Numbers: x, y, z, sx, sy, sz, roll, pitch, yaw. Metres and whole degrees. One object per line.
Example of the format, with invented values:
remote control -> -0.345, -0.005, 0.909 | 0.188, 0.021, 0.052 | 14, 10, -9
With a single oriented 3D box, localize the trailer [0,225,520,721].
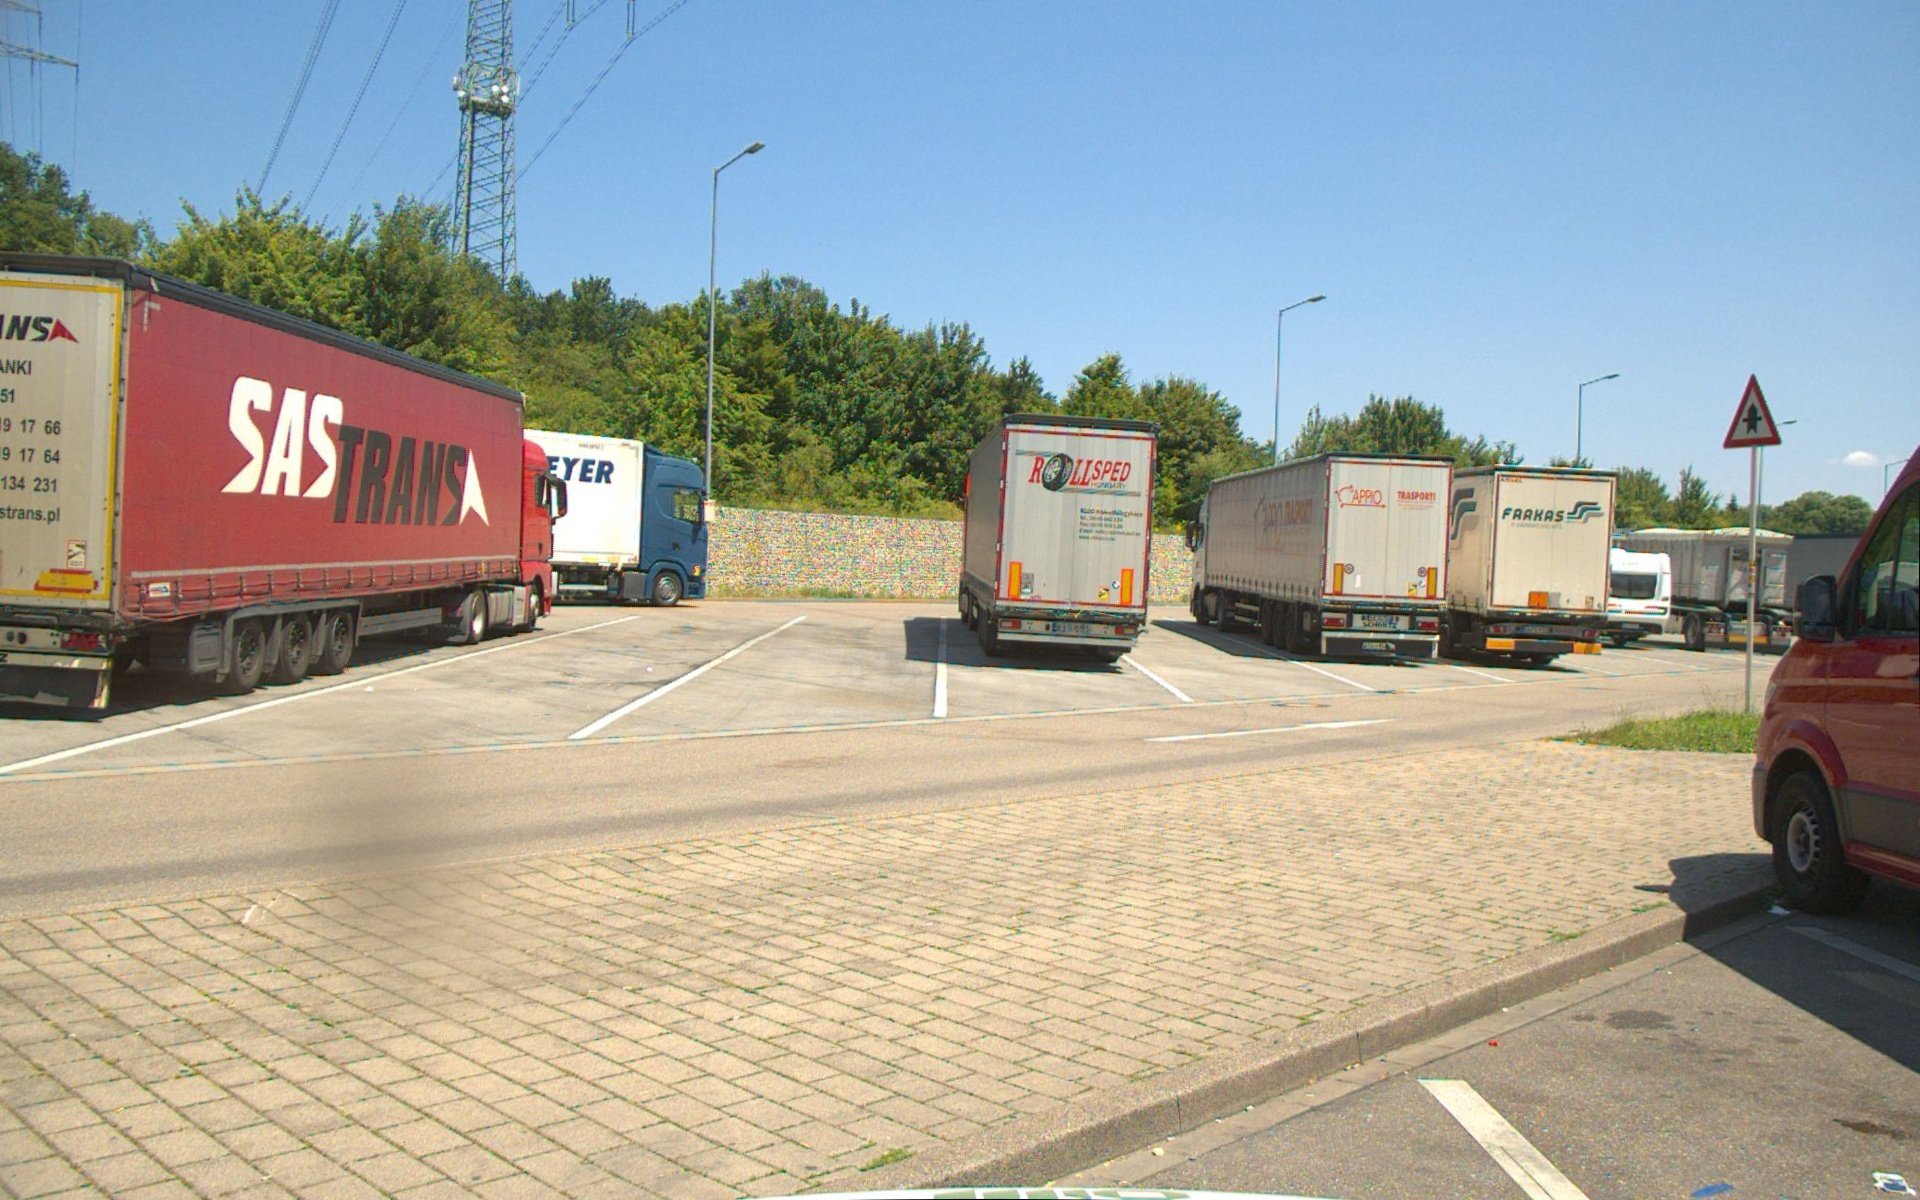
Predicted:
trailer -> -8.639, -1.231, 20.961 | 2.743, 4.293, 13.200 | 1, 1, -1

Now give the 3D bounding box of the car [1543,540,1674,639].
car -> 18.237, -0.269, 46.710 | 2.072, 2.645, 3.999 | 1, 0, -1

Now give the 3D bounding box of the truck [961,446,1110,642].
truck -> 1.590, -1.230, 37.757 | 2.814, 4.050, 6.027 | 1, 1, -2

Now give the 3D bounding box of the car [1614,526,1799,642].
car -> 21.703, -0.498, 48.468 | 2.448, 3.128, 6.350 | 1, 1, -1

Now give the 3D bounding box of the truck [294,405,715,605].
truck -> -10.522, -2.041, 39.553 | 2.203, 4.104, 9.989 | 2, 0, 43

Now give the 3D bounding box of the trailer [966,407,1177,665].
trailer -> 1.812, -1.121, 32.138 | 2.839, 4.083, 11.312 | 1, 1, -2

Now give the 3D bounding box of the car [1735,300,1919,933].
car -> 4.970, 0.103, 5.576 | 1.952, 2.679, 6.385 | 1, 1, 3

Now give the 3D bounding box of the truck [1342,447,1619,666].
truck -> 11.718, -0.833, 38.830 | 2.534, 4.299, 11.967 | 1, 0, -1

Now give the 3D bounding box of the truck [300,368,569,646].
truck -> -8.725, -1.466, 28.216 | 2.748, 4.205, 5.893 | 1, 1, -1

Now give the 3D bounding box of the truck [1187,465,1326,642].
truck -> 8.022, -1.247, 45.453 | 2.607, 4.530, 5.863 | 1, 1, -1

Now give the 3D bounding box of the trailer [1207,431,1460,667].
trailer -> 8.175, -1.096, 38.371 | 2.627, 4.530, 12.826 | 1, 1, -1
